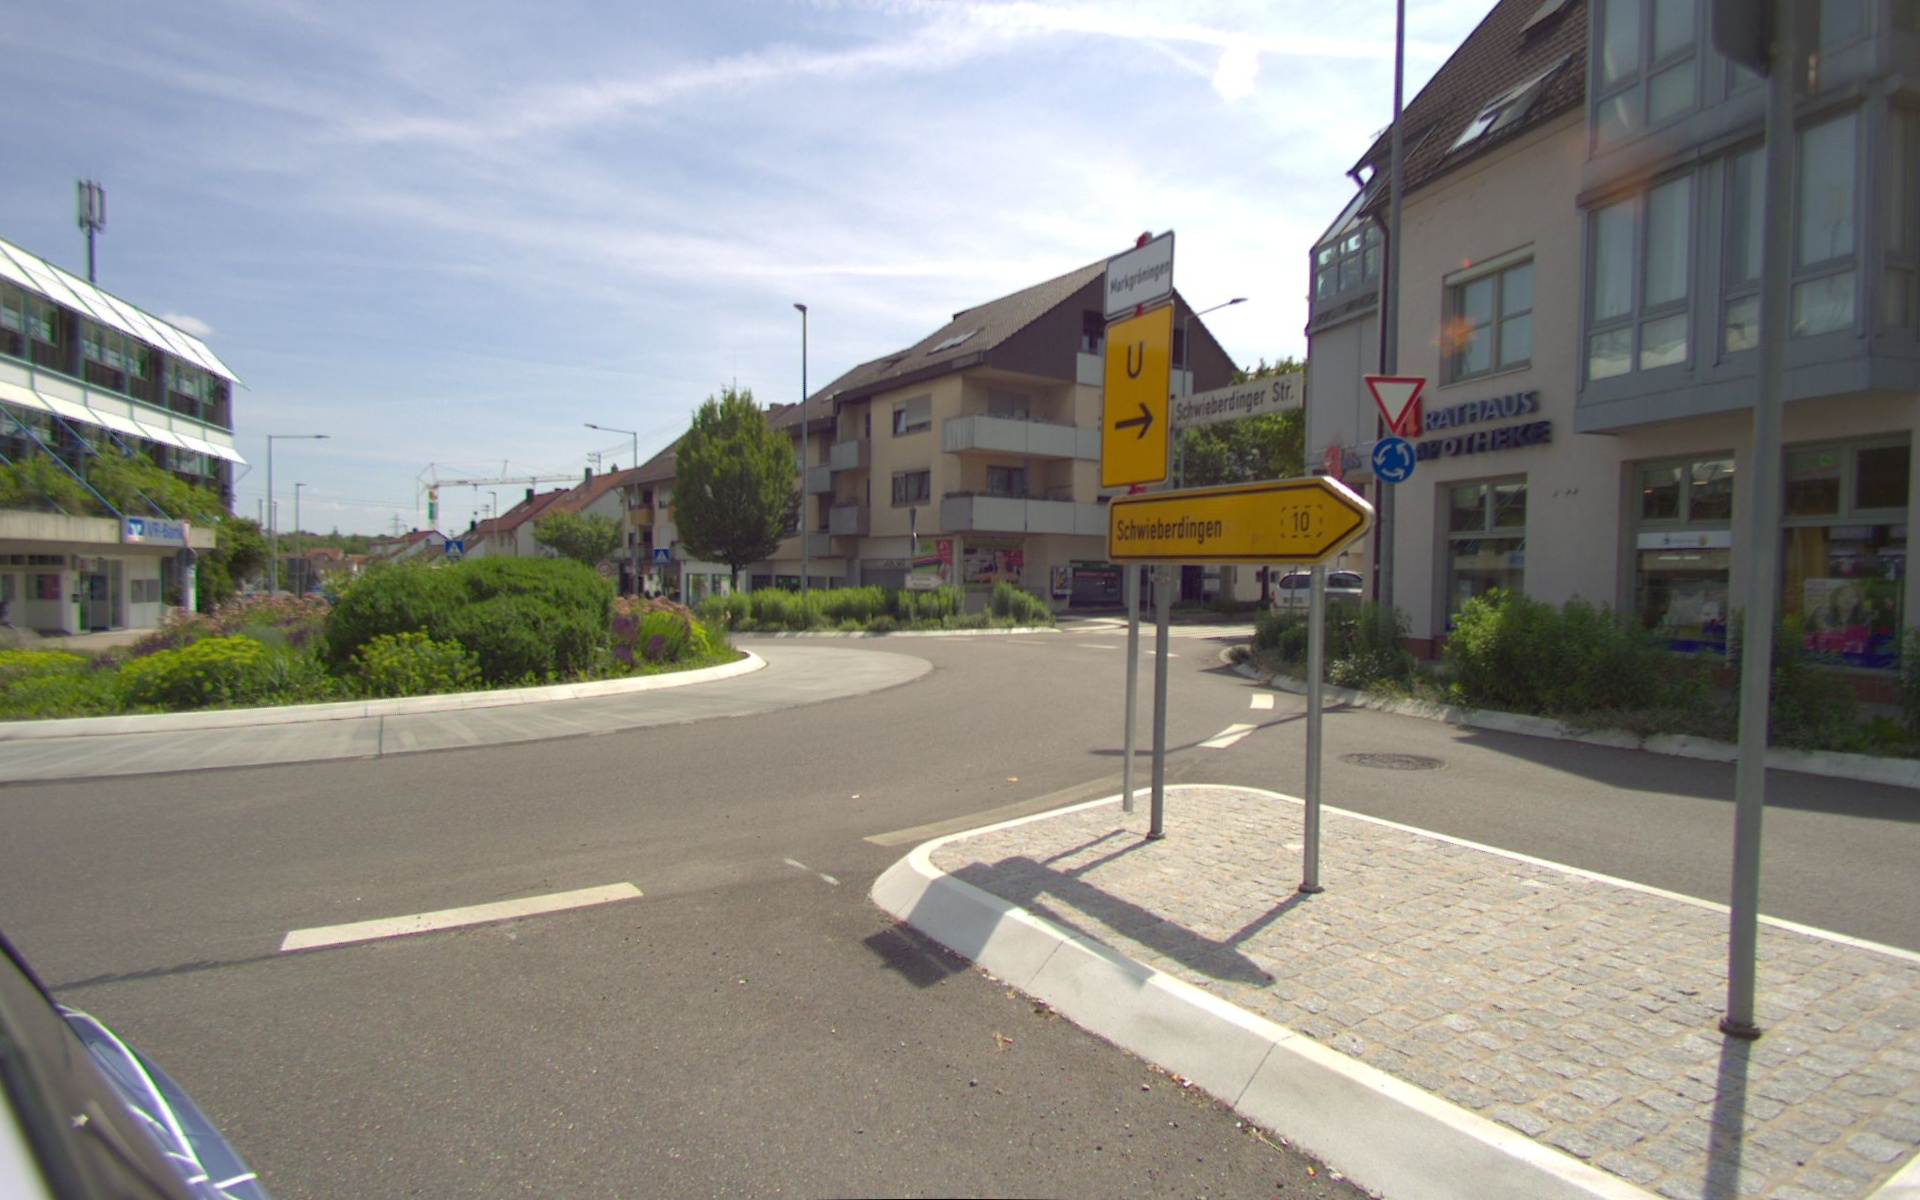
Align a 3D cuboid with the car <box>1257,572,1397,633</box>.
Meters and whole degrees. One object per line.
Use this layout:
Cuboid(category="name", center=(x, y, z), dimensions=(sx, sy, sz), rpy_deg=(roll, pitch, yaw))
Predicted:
Cuboid(category="car", center=(10.619, 0.026, 29.131), dimensions=(4.156, 1.640, 1.978), rpy_deg=(-1, 1, -40))
